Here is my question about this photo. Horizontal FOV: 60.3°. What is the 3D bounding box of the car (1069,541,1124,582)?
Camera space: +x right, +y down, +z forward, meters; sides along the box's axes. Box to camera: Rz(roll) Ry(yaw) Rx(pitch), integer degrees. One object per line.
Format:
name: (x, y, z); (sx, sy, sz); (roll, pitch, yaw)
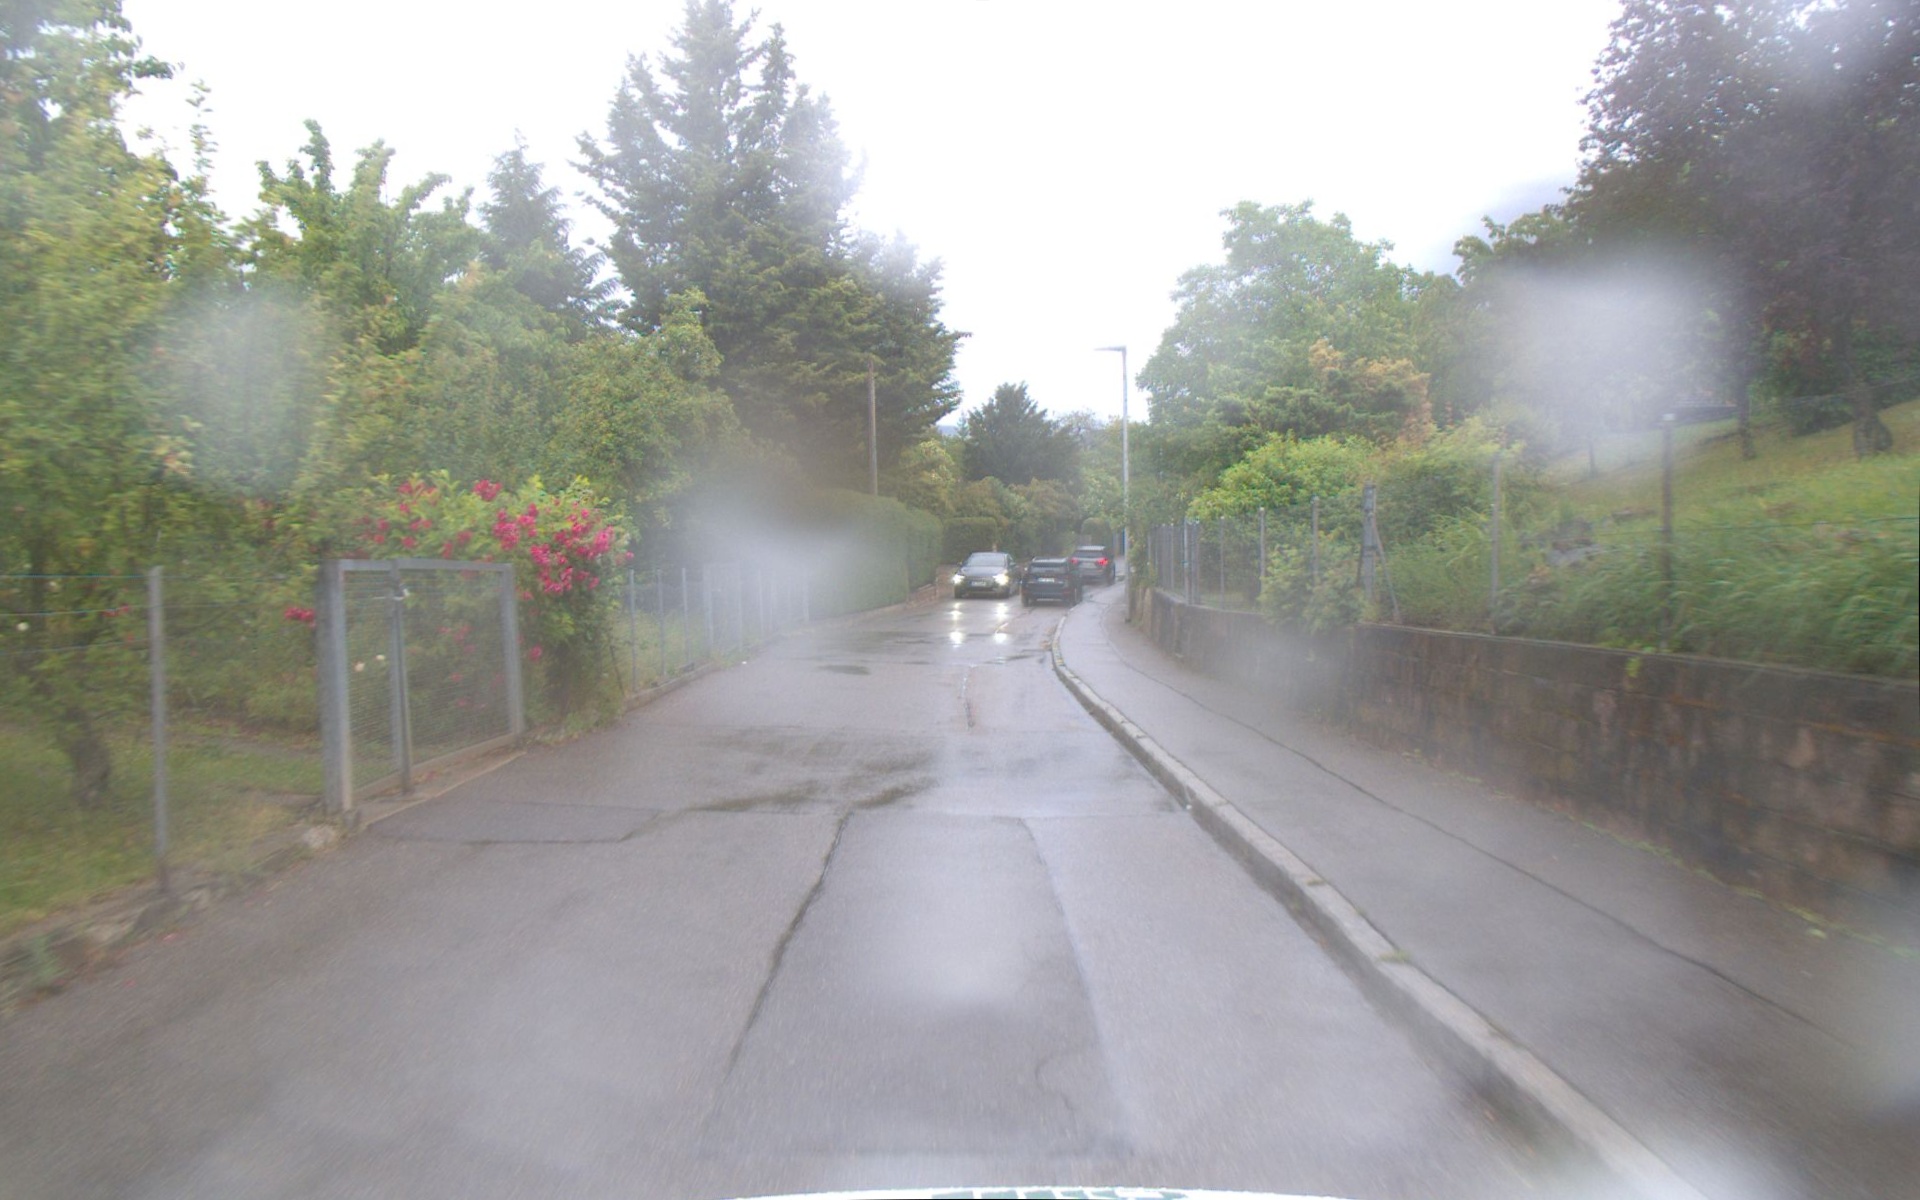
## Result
car: (5.773, -1.654, 69.731); (1.642, 1.592, 3.798); (2, 3, 14)

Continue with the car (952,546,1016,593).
car: (0.865, -1.081, 56.958); (1.742, 1.519, 3.834); (1, 2, 8)

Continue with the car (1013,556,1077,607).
car: (2.748, -0.609, 52.626); (1.796, 1.489, 4.003); (3, 1, 5)
